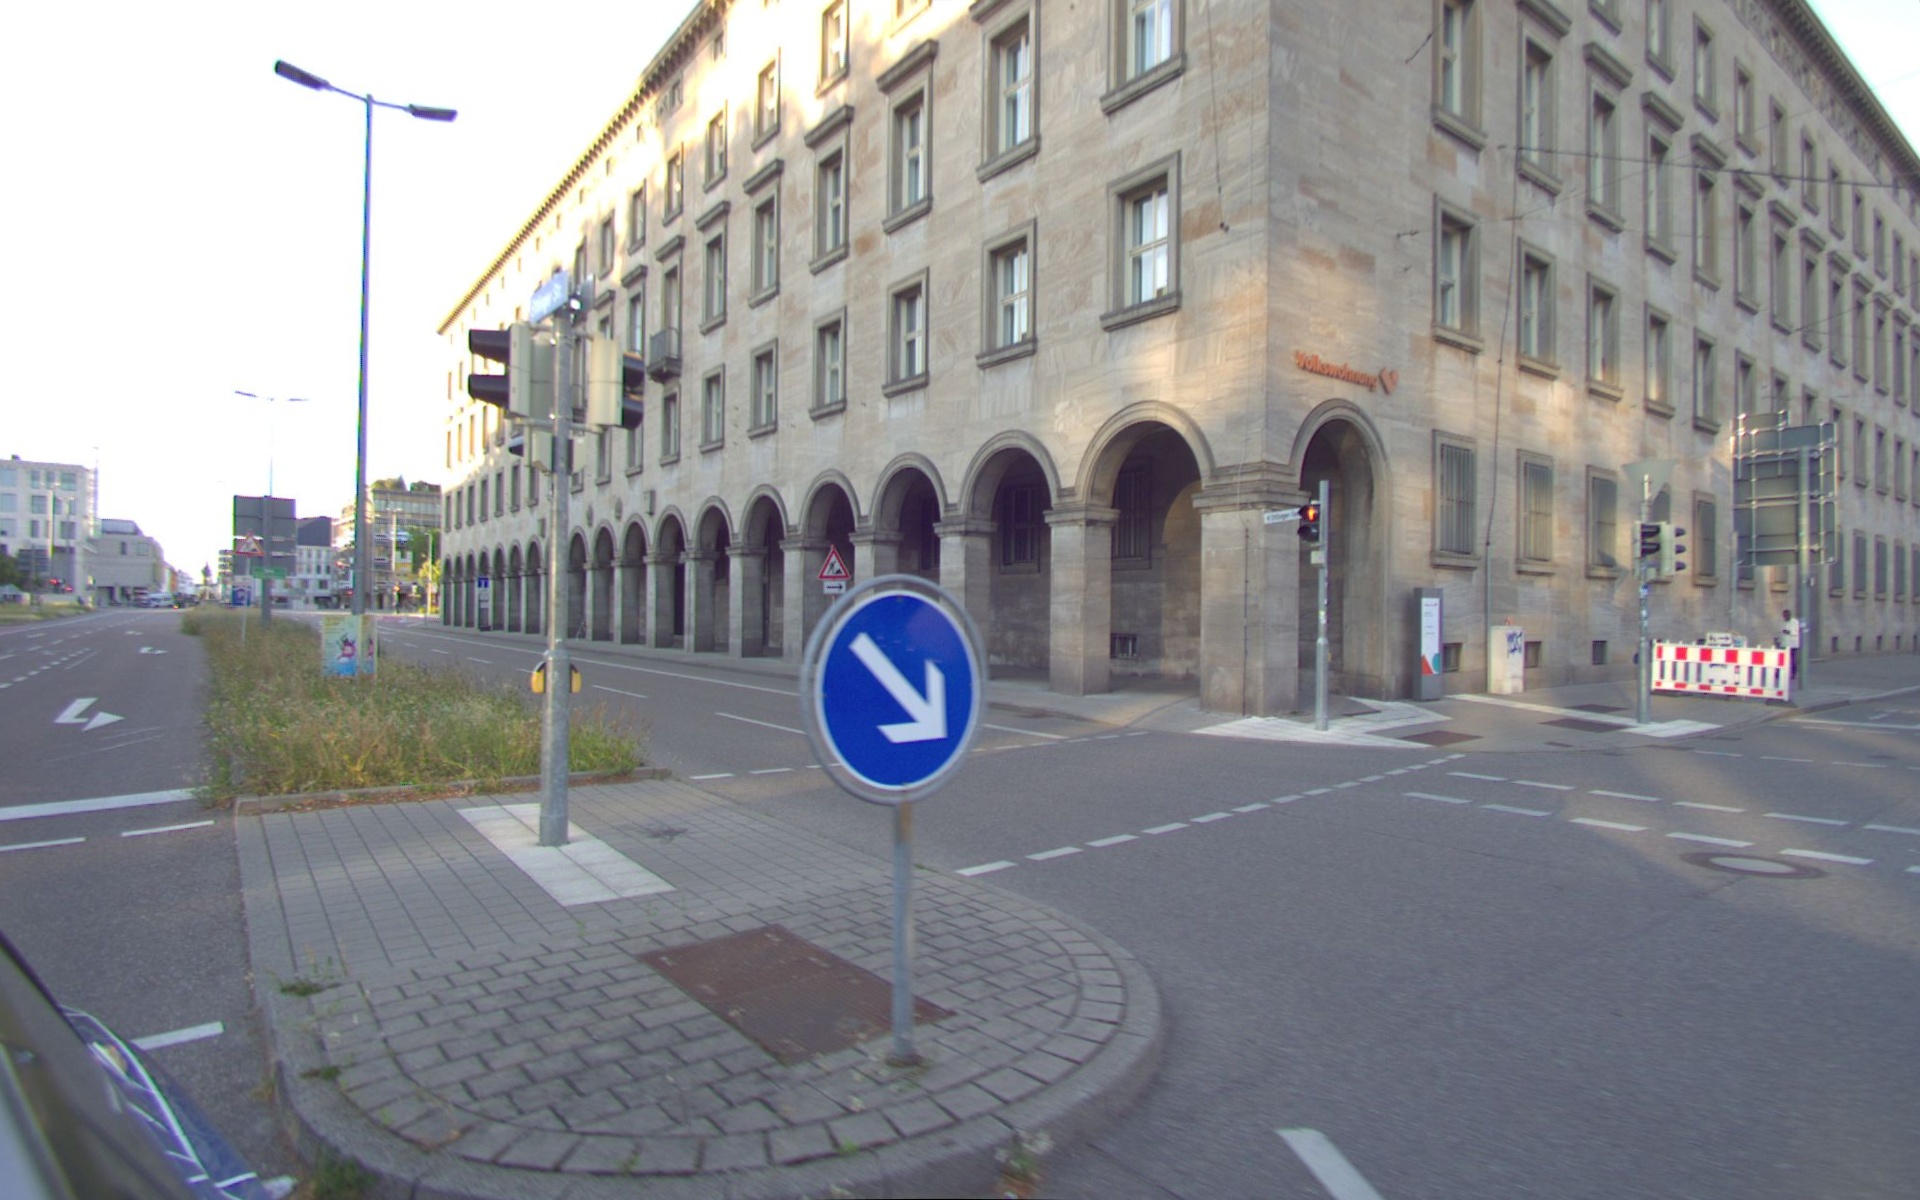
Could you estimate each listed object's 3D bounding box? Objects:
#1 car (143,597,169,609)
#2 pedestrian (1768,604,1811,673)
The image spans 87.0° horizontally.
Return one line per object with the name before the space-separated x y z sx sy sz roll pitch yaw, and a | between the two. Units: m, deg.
car | -143.287 0.543 180.462 1.968 2.028 4.009 -4 0 -11
pedestrian | 21.097 0.970 25.740 0.635 1.723 0.699 1 -1 -34
